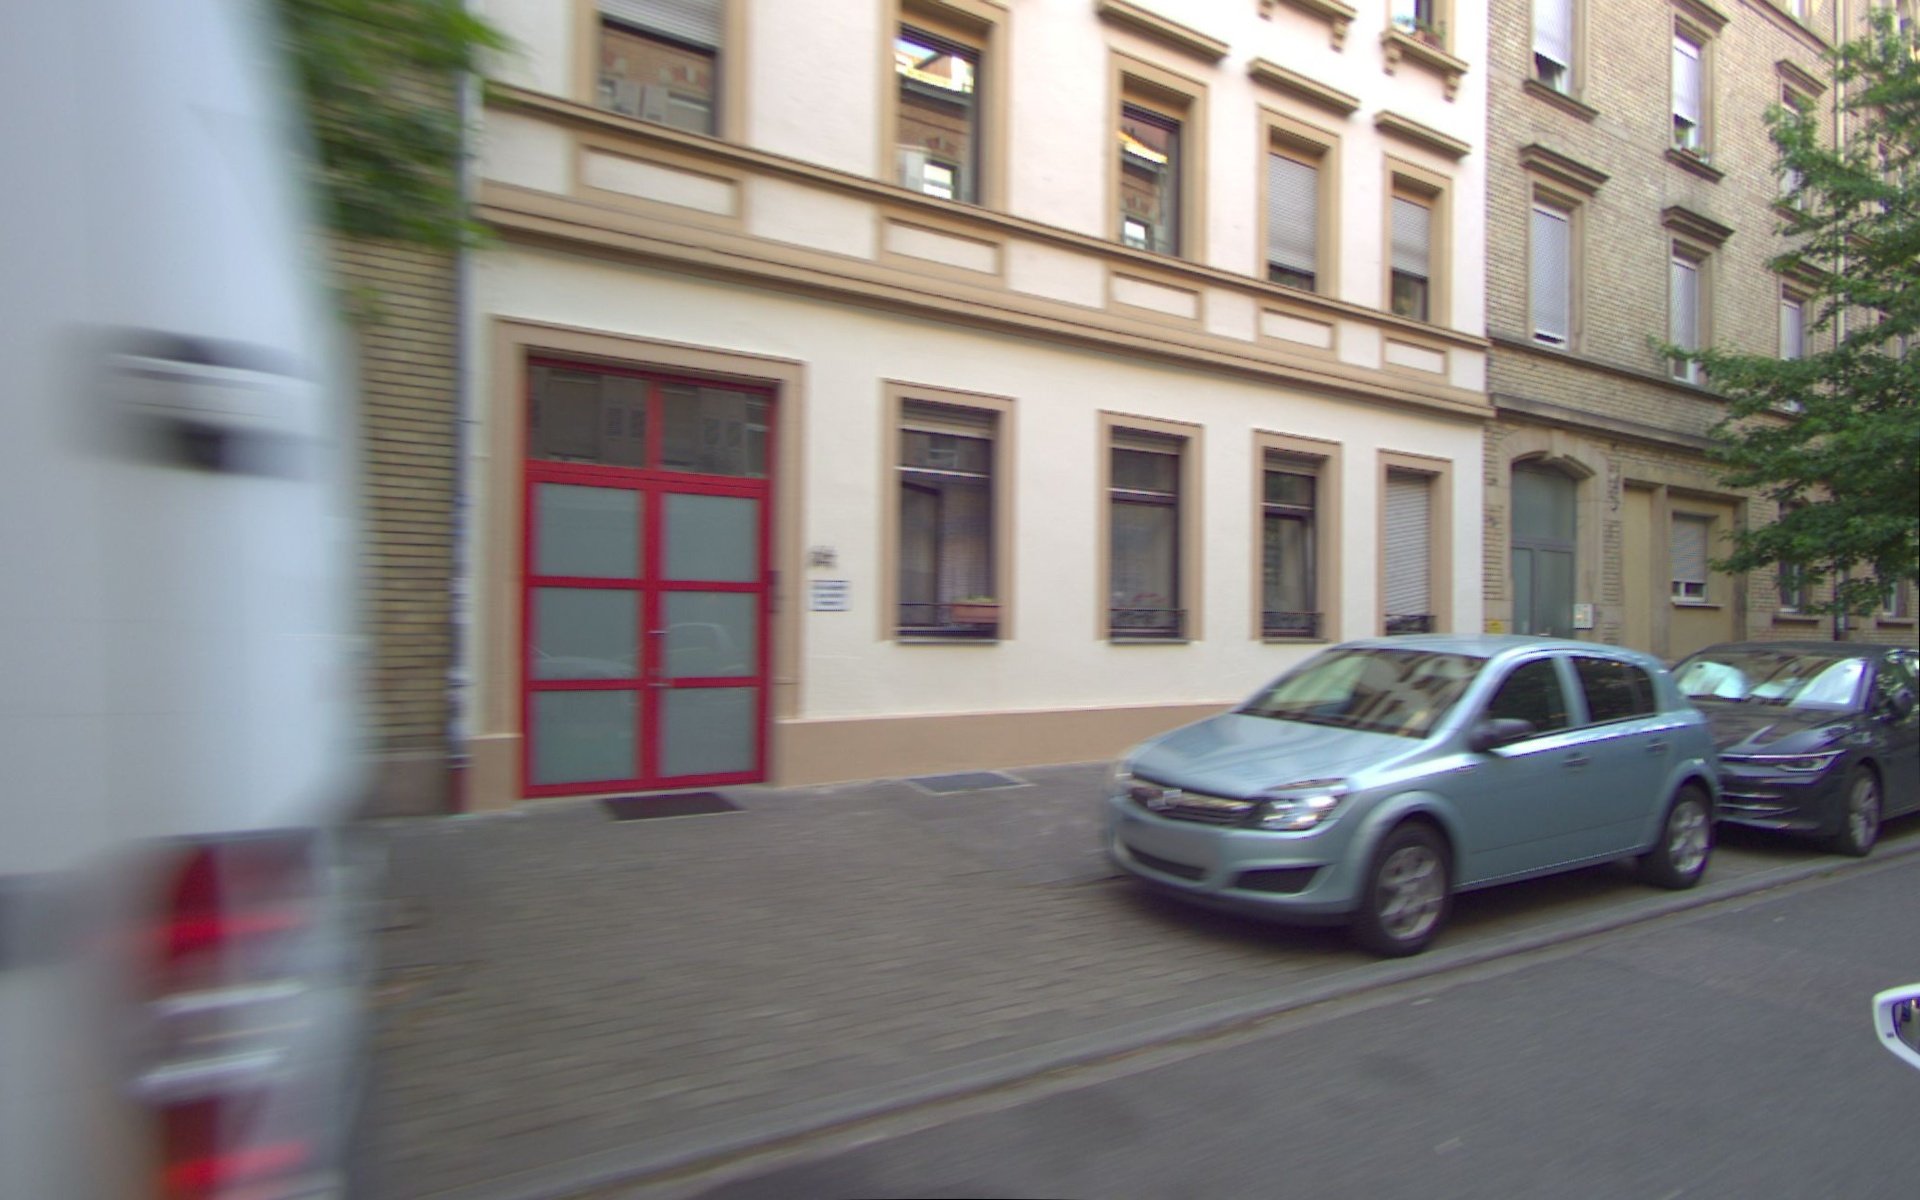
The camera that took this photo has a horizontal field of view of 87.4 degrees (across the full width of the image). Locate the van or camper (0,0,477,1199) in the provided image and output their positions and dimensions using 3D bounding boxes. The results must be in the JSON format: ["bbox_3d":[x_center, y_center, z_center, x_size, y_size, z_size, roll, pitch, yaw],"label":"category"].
[{"bbox_3d":[-3.424,0.233,0.504,5.594,2.463,2.209,1,-2,-30],"label":"van or camper"}]

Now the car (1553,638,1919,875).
[{"bbox_3d":[6.921,1.071,8.281,4.210,1.482,1.758,1,-2,-32],"label":"car"}]

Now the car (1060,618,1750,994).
[{"bbox_3d":[2.723,0.903,5.895,4.066,1.530,1.676,1,-1,-31],"label":"car"}]
